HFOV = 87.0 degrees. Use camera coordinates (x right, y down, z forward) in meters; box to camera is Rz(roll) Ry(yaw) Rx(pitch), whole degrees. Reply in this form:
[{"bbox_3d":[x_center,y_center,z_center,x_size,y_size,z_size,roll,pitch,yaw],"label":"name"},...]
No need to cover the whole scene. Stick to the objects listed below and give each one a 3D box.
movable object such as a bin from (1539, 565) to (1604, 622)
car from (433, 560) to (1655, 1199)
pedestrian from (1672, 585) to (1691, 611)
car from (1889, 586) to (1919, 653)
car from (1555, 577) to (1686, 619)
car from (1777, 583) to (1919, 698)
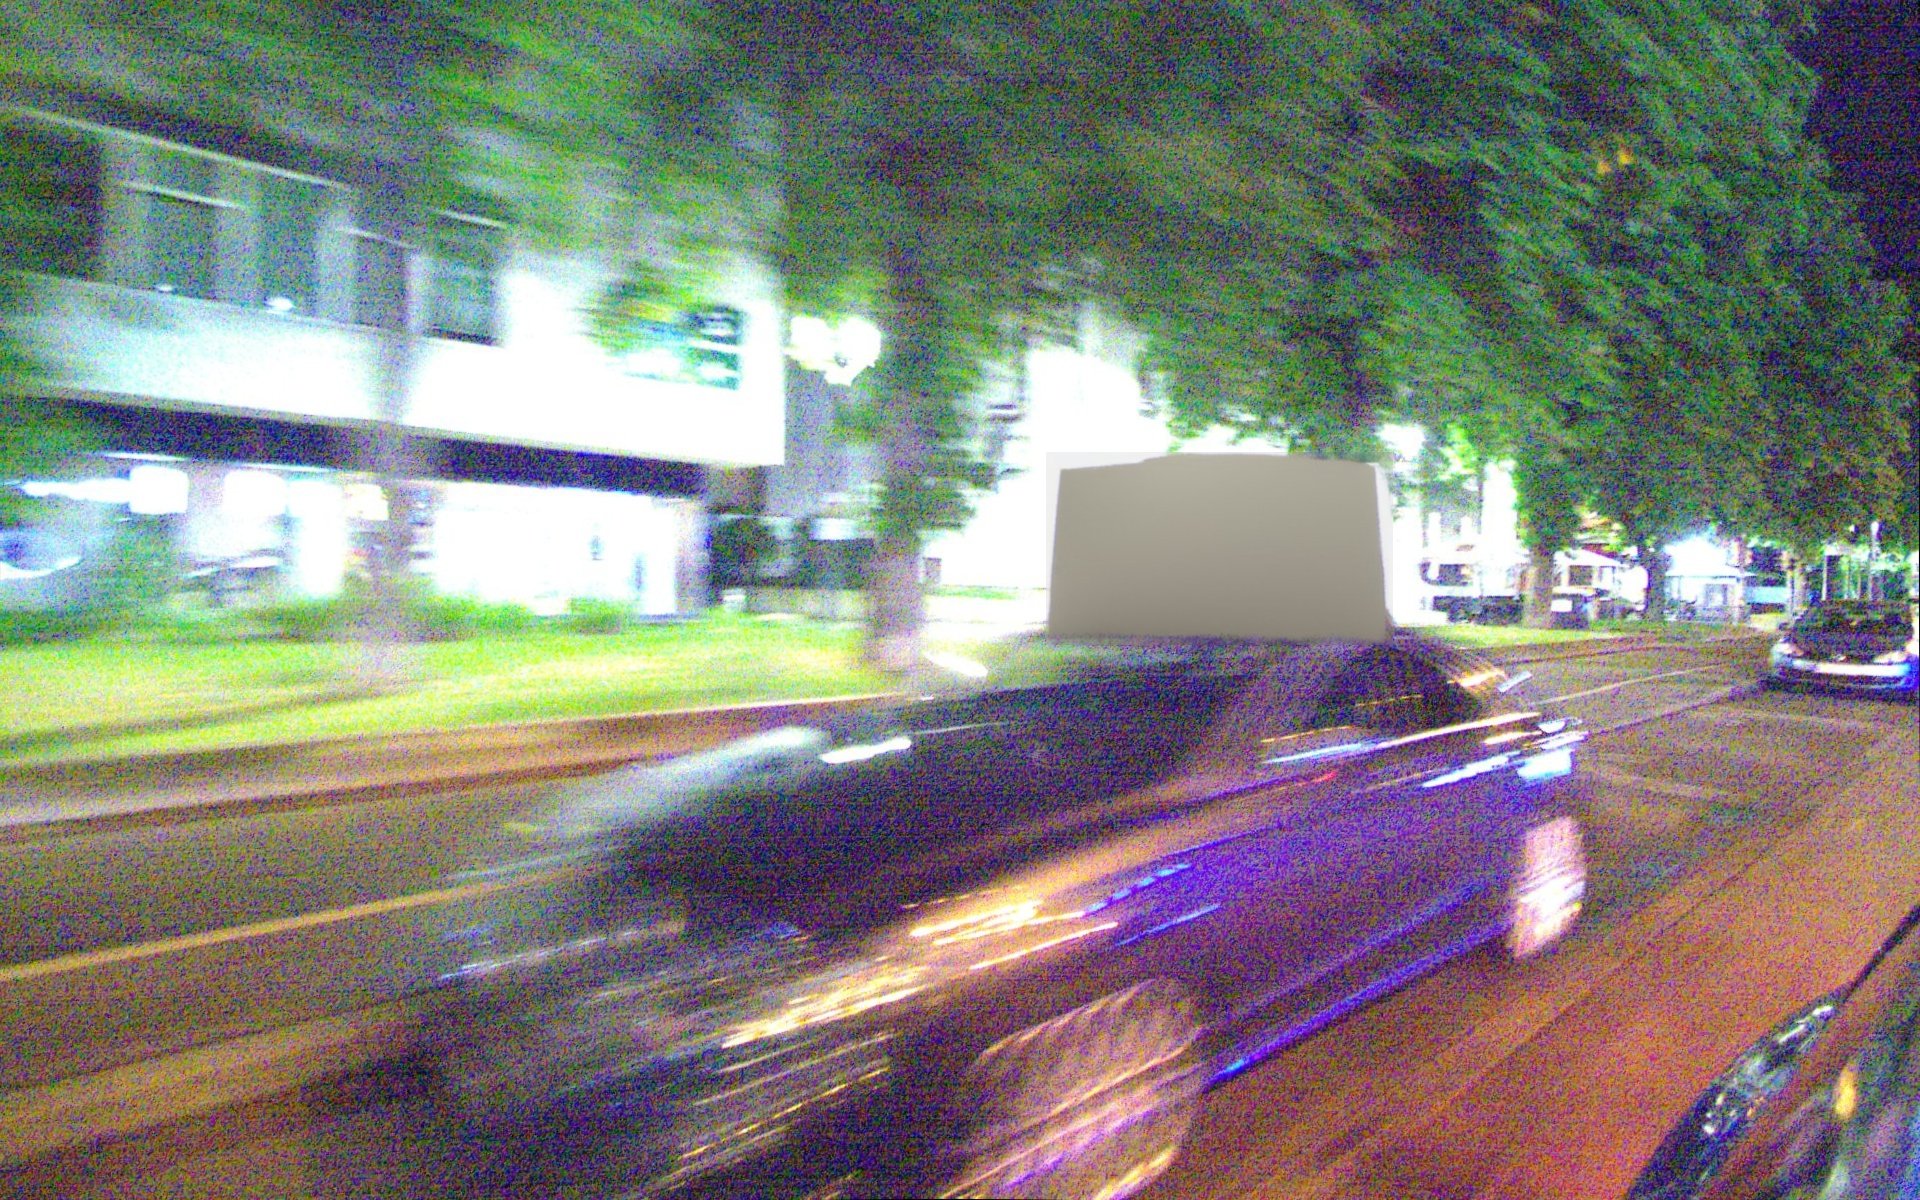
[{"bbox_3d":[15.366,-0.173,25.429,0.976,1.388,1.162,0,1,-43],"label":"movable object such as a bin"},{"bbox_3d":[0.834,0.643,3.808,4.723,1.431,1.768,0,3,-41],"label":"car"},{"bbox_3d":[35.337,-0.092,49.599,0.518,1.279,0.503,1,1,-13],"label":"pedestrian"},{"bbox_3d":[24.485,0.490,24.981,4.143,1.555,1.774,0,4,-41],"label":"car"},{"bbox_3d":[28.013,-0.122,43.008,1.773,1.550,4.323,-2,4,-42],"label":"car"},{"bbox_3d":[14.556,0.554,16.117,3.945,1.555,1.693,0,3,-41],"label":"car"}]
